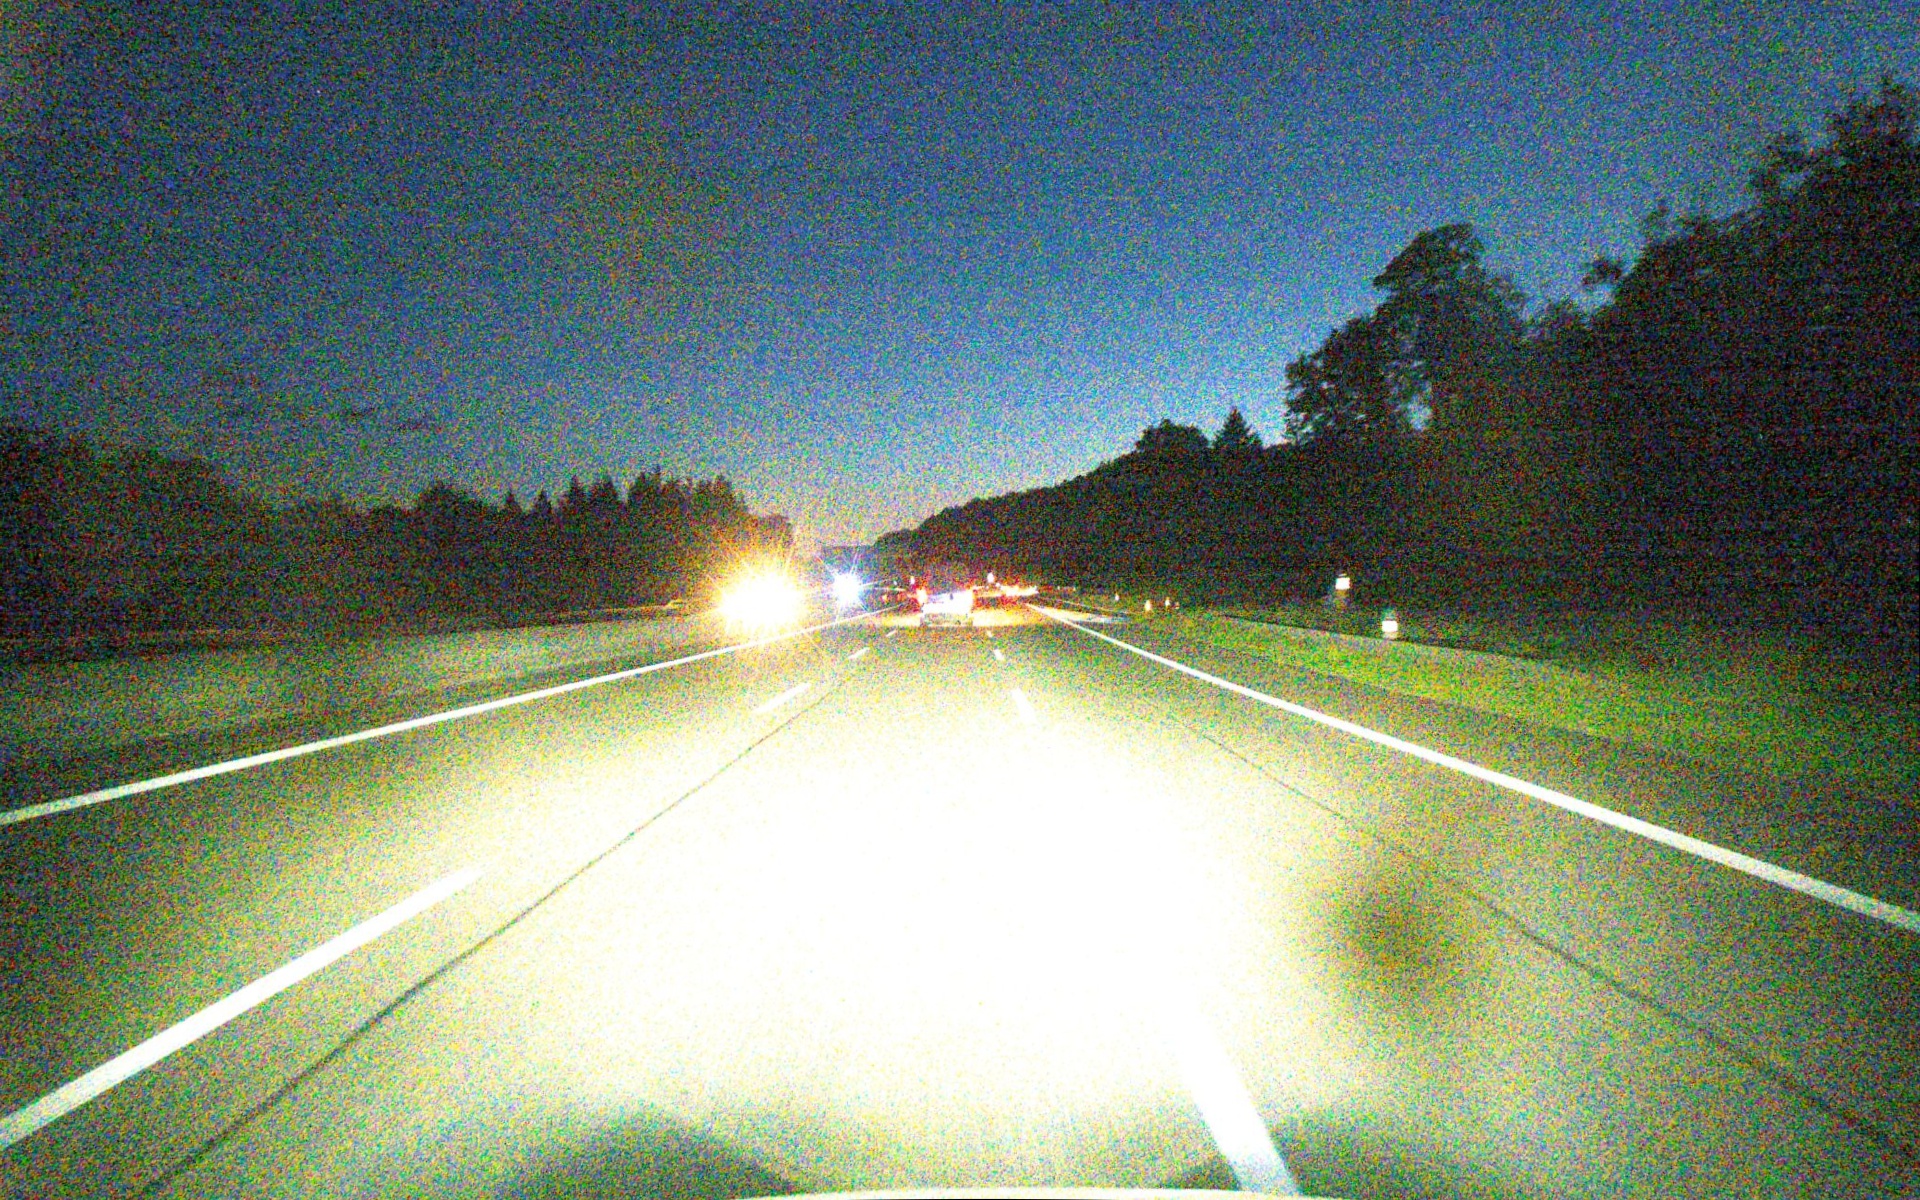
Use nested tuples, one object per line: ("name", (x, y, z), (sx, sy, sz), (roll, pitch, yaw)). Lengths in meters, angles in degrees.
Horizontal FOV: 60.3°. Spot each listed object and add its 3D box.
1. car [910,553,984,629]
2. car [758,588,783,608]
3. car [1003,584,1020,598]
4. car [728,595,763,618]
("car", (-0.492, -0.351, 63.960), (2.729, 2.781, 6.298), (0, 0, 0))
("car", (-19.439, -0.182, 169.996), (1.987, 2.003, 5.396), (-1, 0, -1))
("car", (6.127, -1.083, 197.291), (1.806, 1.668, 4.000), (0, 1, -1))
("car", (-15.472, 0.452, 119.362), (1.893, 1.632, 4.953), (-1, 0, -1))
